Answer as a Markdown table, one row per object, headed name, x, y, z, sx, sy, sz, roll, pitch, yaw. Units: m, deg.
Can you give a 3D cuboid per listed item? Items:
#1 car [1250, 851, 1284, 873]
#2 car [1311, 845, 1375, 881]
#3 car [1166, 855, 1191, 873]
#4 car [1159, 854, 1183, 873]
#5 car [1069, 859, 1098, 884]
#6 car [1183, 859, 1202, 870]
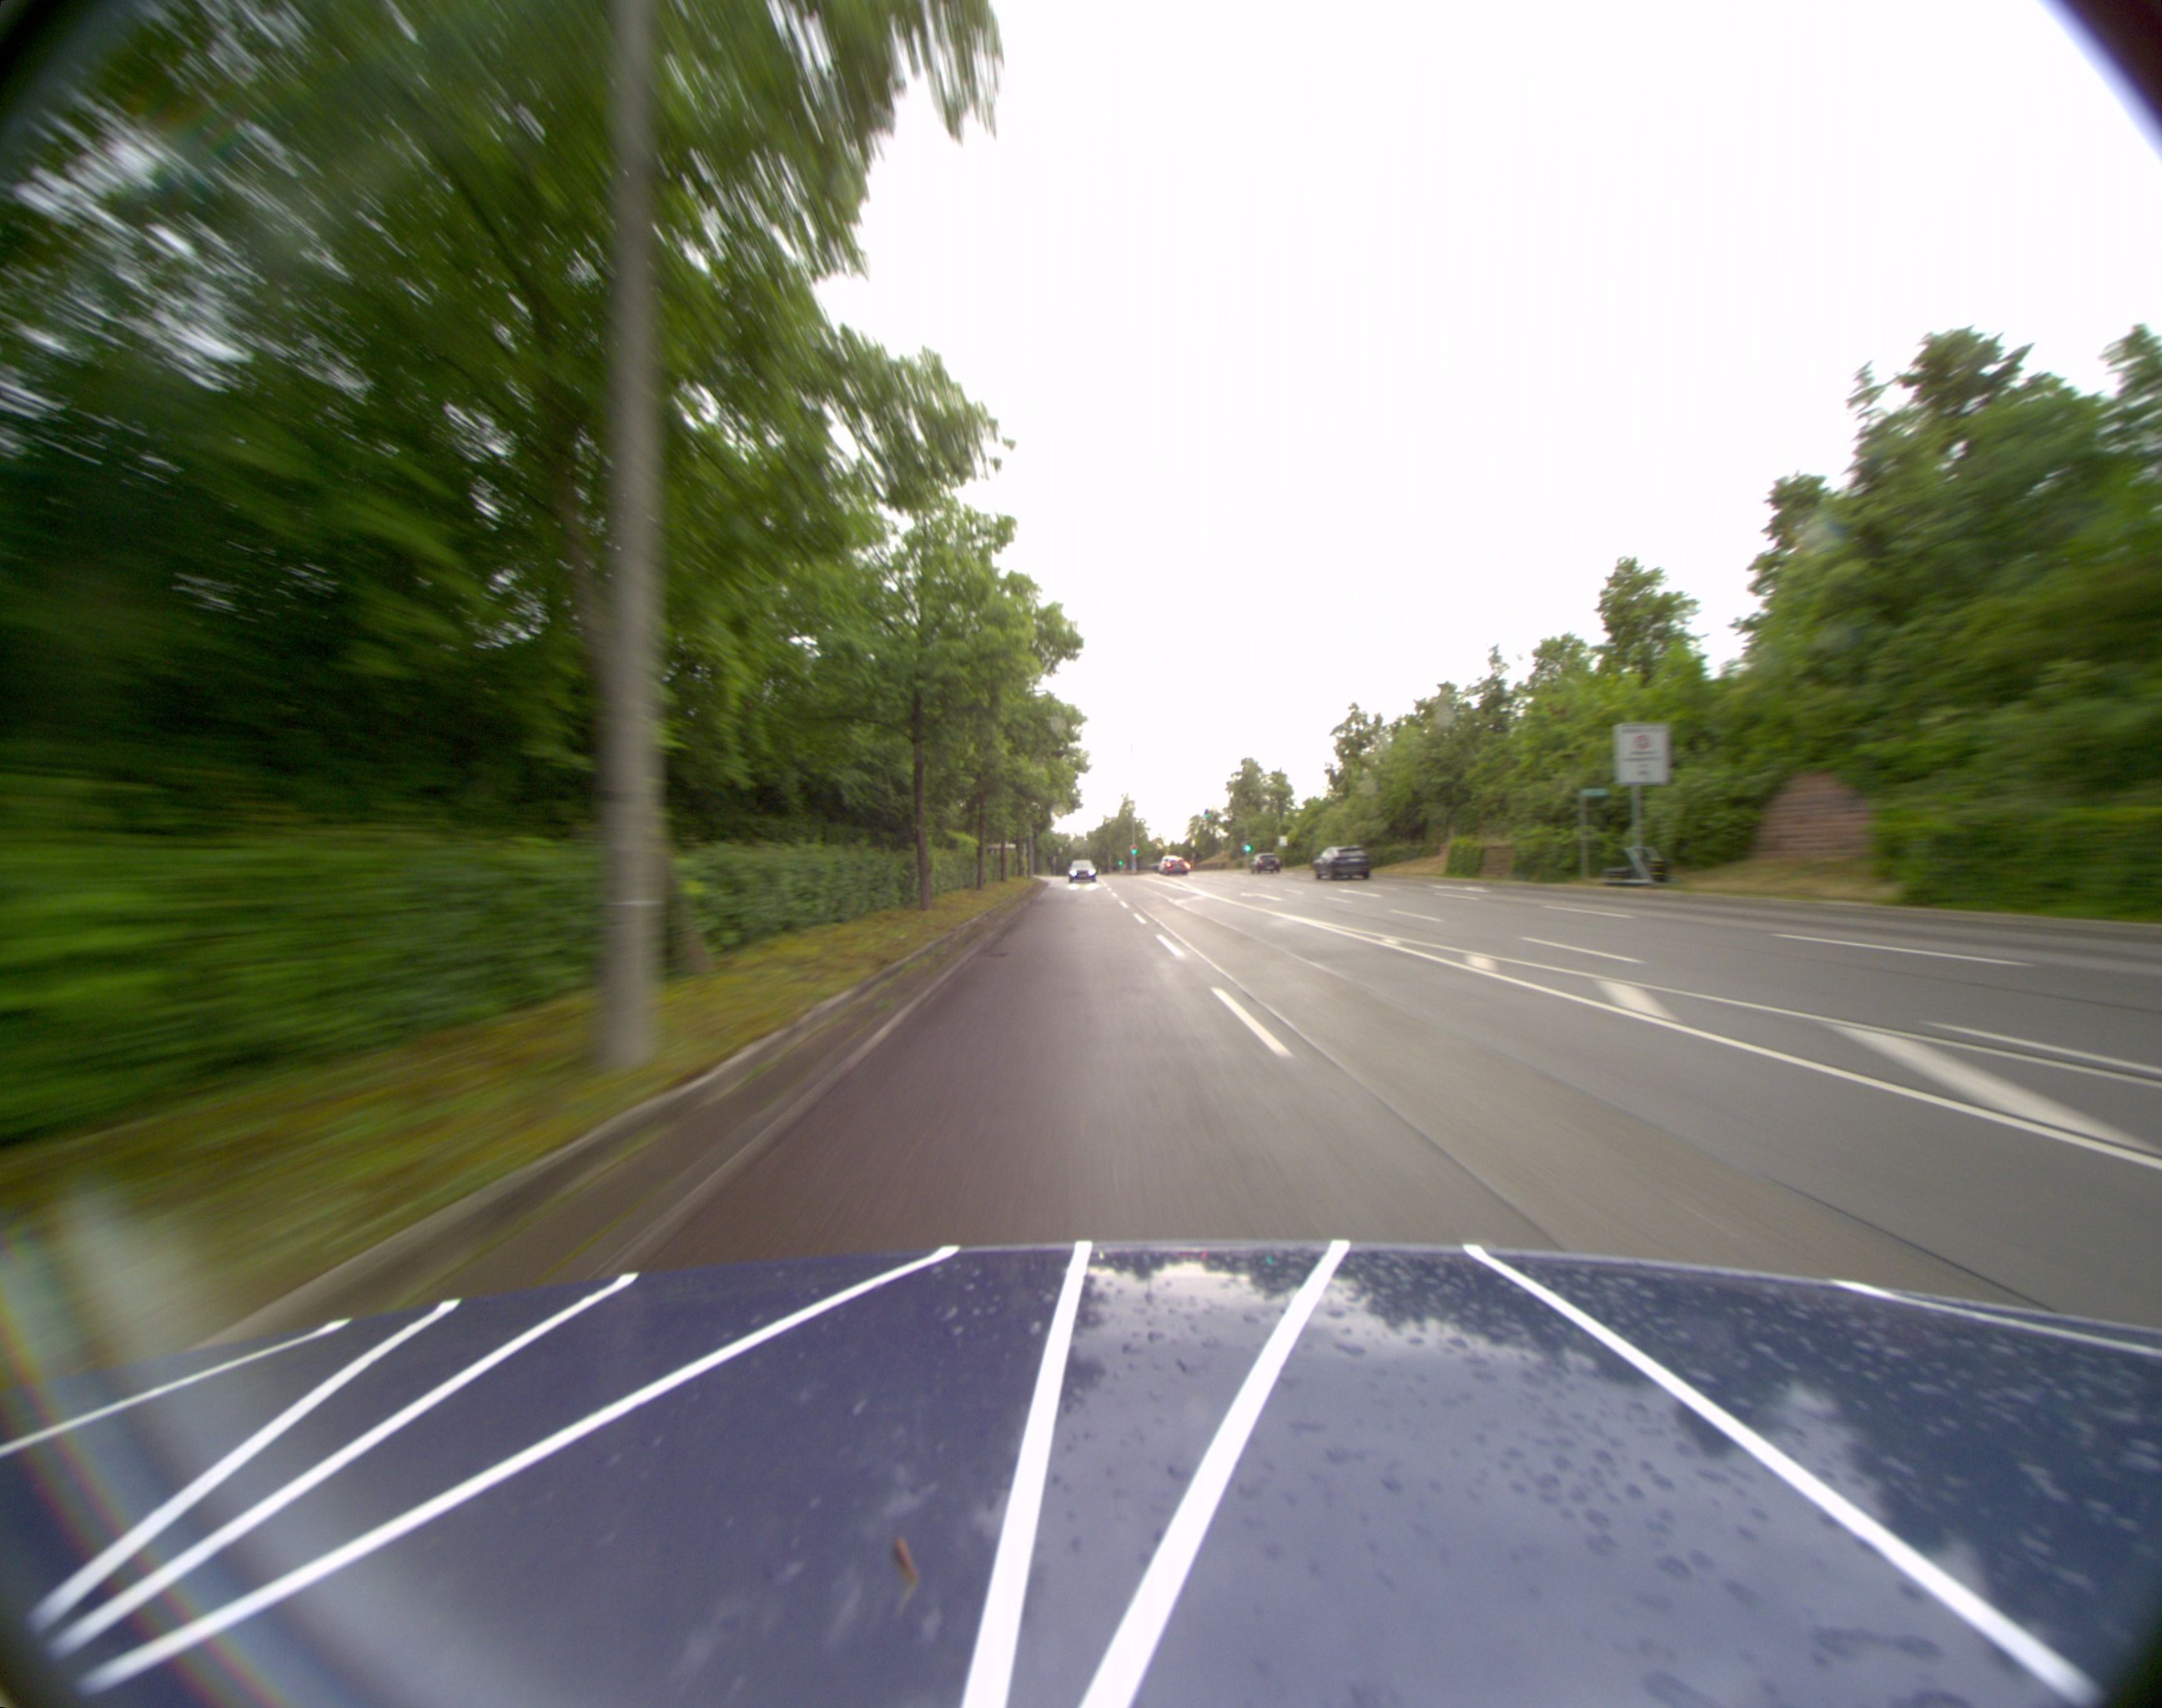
| name | x | y | z | sx | sy | sz | roll | pitch | yaw |
| --- | --- | --- | --- | --- | --- | --- | --- | --- | --- |
| car | 13.731 | 0.581 | 56.282 | 1.679 | 1.459 | 3.862 | -3 | 0 | 2 |
| car | 12.952 | 0.436 | 37.858 | 1.804 | 1.597 | 4.429 | -3 | 0 | 3 |
| car | 8.317 | 0.870 | 65.022 | 1.781 | 1.459 | 3.998 | -2 | 0 | 3 |
| car | 8.612 | 0.904 | 72.901 | 1.890 | 1.646 | 4.451 | -2 | 0 | 3 |
| car | 0.201 | 1.161 | 51.351 | 1.737 | 1.577 | 4.287 | -2 | 0 | 3 |
| car | 16.555 | 1.550 | 113.023 | 1.891 | 1.646 | 4.449 | -2 | 0 | -2 |
